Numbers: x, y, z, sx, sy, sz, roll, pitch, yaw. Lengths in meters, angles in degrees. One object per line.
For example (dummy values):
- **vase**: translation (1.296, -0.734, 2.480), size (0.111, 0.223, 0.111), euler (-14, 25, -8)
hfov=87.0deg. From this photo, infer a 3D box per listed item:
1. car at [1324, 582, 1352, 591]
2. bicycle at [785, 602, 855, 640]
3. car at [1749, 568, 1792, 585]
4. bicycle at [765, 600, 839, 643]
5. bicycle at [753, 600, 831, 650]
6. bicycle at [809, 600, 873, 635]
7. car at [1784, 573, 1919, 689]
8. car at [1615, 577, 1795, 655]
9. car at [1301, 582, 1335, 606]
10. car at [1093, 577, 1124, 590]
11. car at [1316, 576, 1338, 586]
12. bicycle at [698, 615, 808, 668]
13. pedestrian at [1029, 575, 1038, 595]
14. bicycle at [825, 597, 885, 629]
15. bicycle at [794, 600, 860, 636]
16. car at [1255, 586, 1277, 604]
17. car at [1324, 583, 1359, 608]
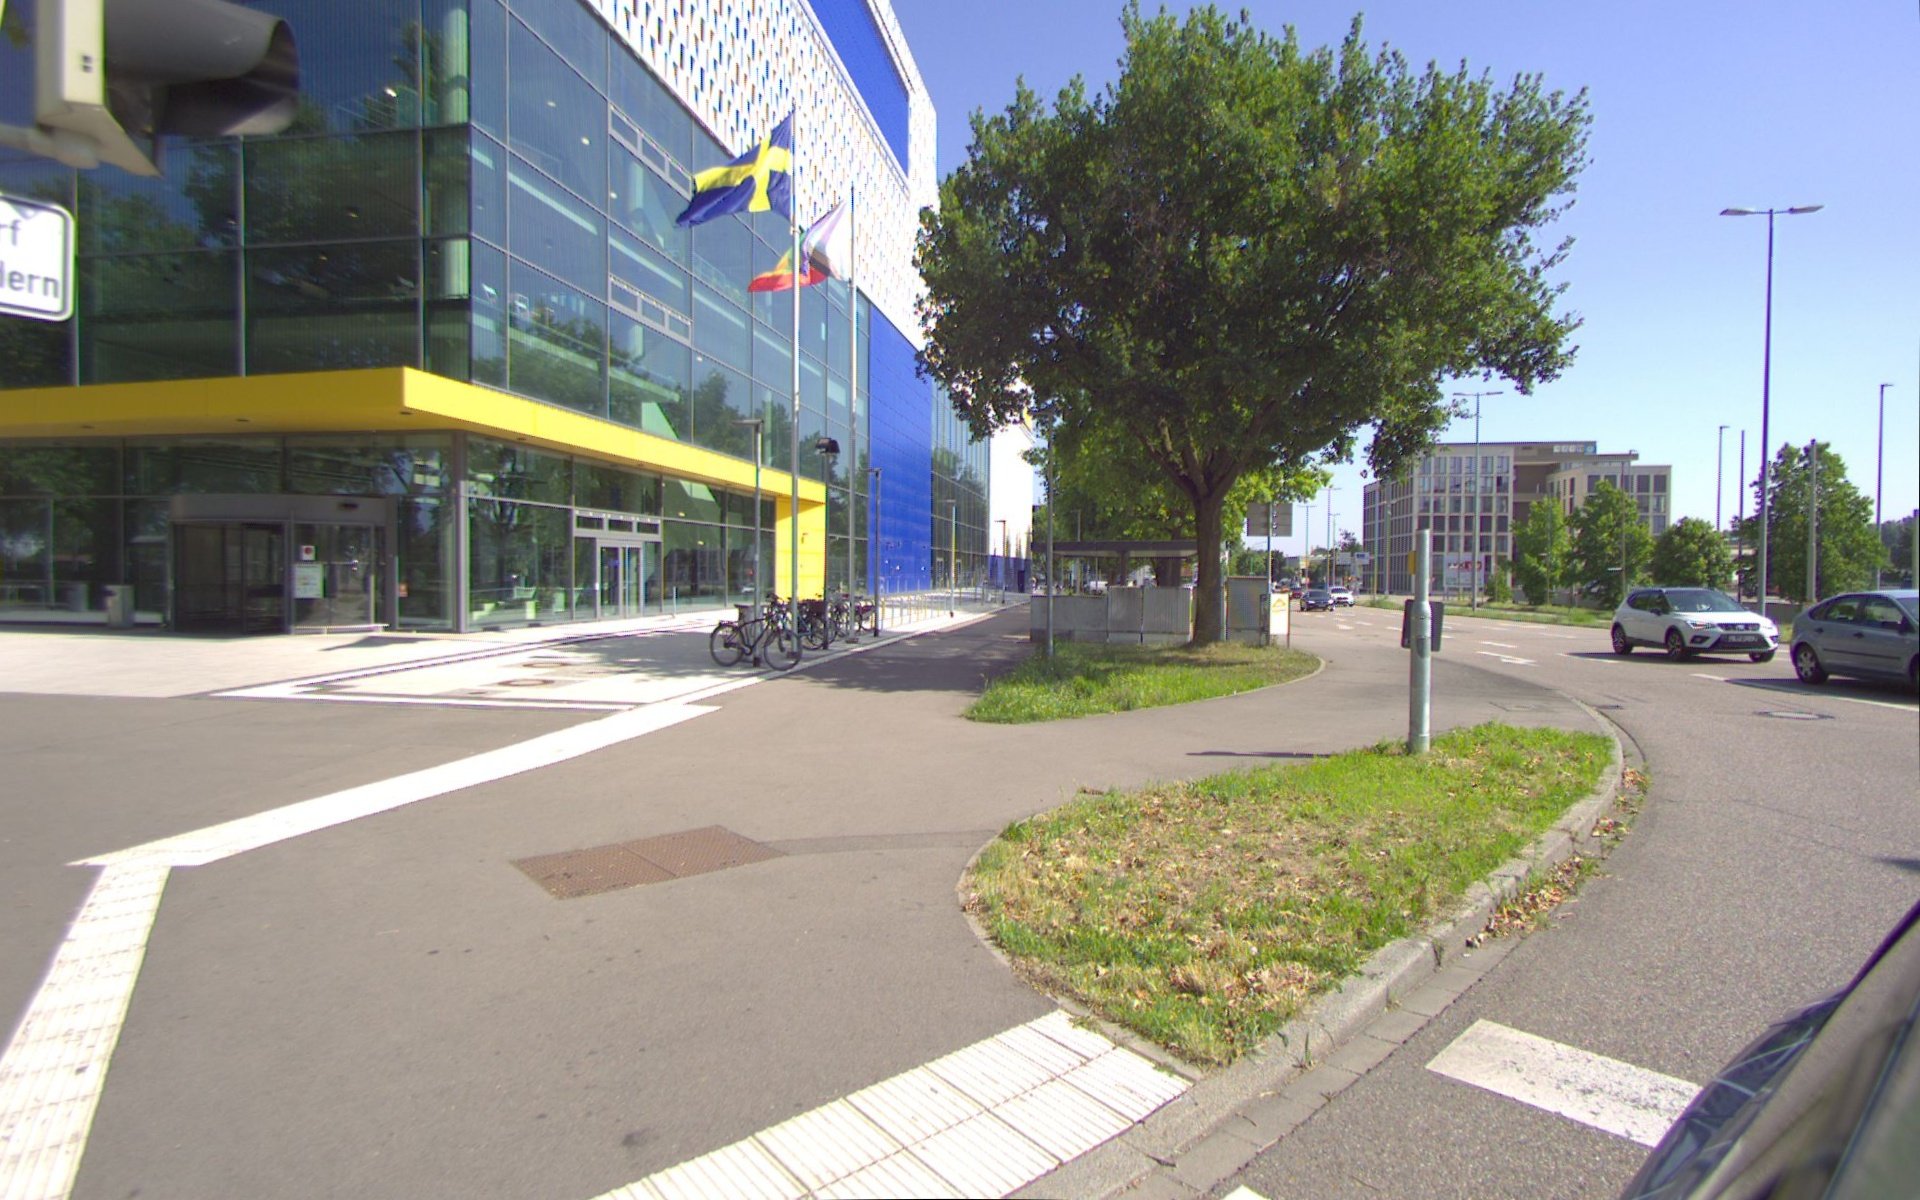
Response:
- **car**: translation (67.459, -2.451, 180.619), size (4.414, 1.607, 1.972), euler (0, 1, 13)
- **bicycle**: translation (-3.225, 0.477, 23.343), size (1.543, 0.854, 0.432), euler (0, 0, 14)
- **car**: translation (78.065, -2.242, 97.526), size (2.732, 1.576, 1.769), euler (0, 1, 11)
- **bicycle**: translation (-3.420, 0.455, 21.926), size (1.543, 0.921, 0.432), euler (0, 0, 14)
- **bicycle**: translation (-3.446, 0.503, 20.768), size (1.543, 1.007, 0.432), euler (0, 0, 14)
- **bicycle**: translation (-3.004, 0.434, 25.578), size (1.543, 0.854, 0.432), euler (0, 0, 14)
- **car**: translation (14.182, 0.421, 14.605), size (1.684, 1.593, 4.162), euler (1, 1, 10)
- **car**: translation (15.833, 0.350, 21.751), size (1.611, 1.517, 3.854), euler (-1, -1, 12)
- **car**: translation (24.909, -0.460, 70.448), size (1.745, 1.482, 4.223), euler (-1, 2, 13)
- **car**: translation (24.208, -2.658, 164.759), size (4.920, 2.032, 1.736), euler (0, 2, 11)
- **car**: translation (76.134, -3.907, 209.864), size (3.971, 2.038, 1.977), euler (1, 1, 33)
- **bicycle**: translation (-3.464, 0.683, 16.928), size (1.807, 0.854, 0.432), euler (0, 0, 14)
- **pedestrian**: translation (6.074, -1.278, 83.732), size (0.679, 1.632, 0.770), euler (1, 0, 8)
- **bicycle**: translation (-2.819, 0.345, 27.133), size (1.543, 0.854, 0.432), euler (0, 0, 14)
- **bicycle**: translation (-3.237, 0.426, 24.629), size (1.543, 0.854, 0.432), euler (0, 0, 14)
- **car**: translation (31.983, -0.570, 105.963), size (1.805, 1.733, 3.755), euler (0, 2, 11)
- **car**: translation (30.956, -0.417, 82.150), size (1.995, 1.860, 4.298), euler (0, 2, 12)
